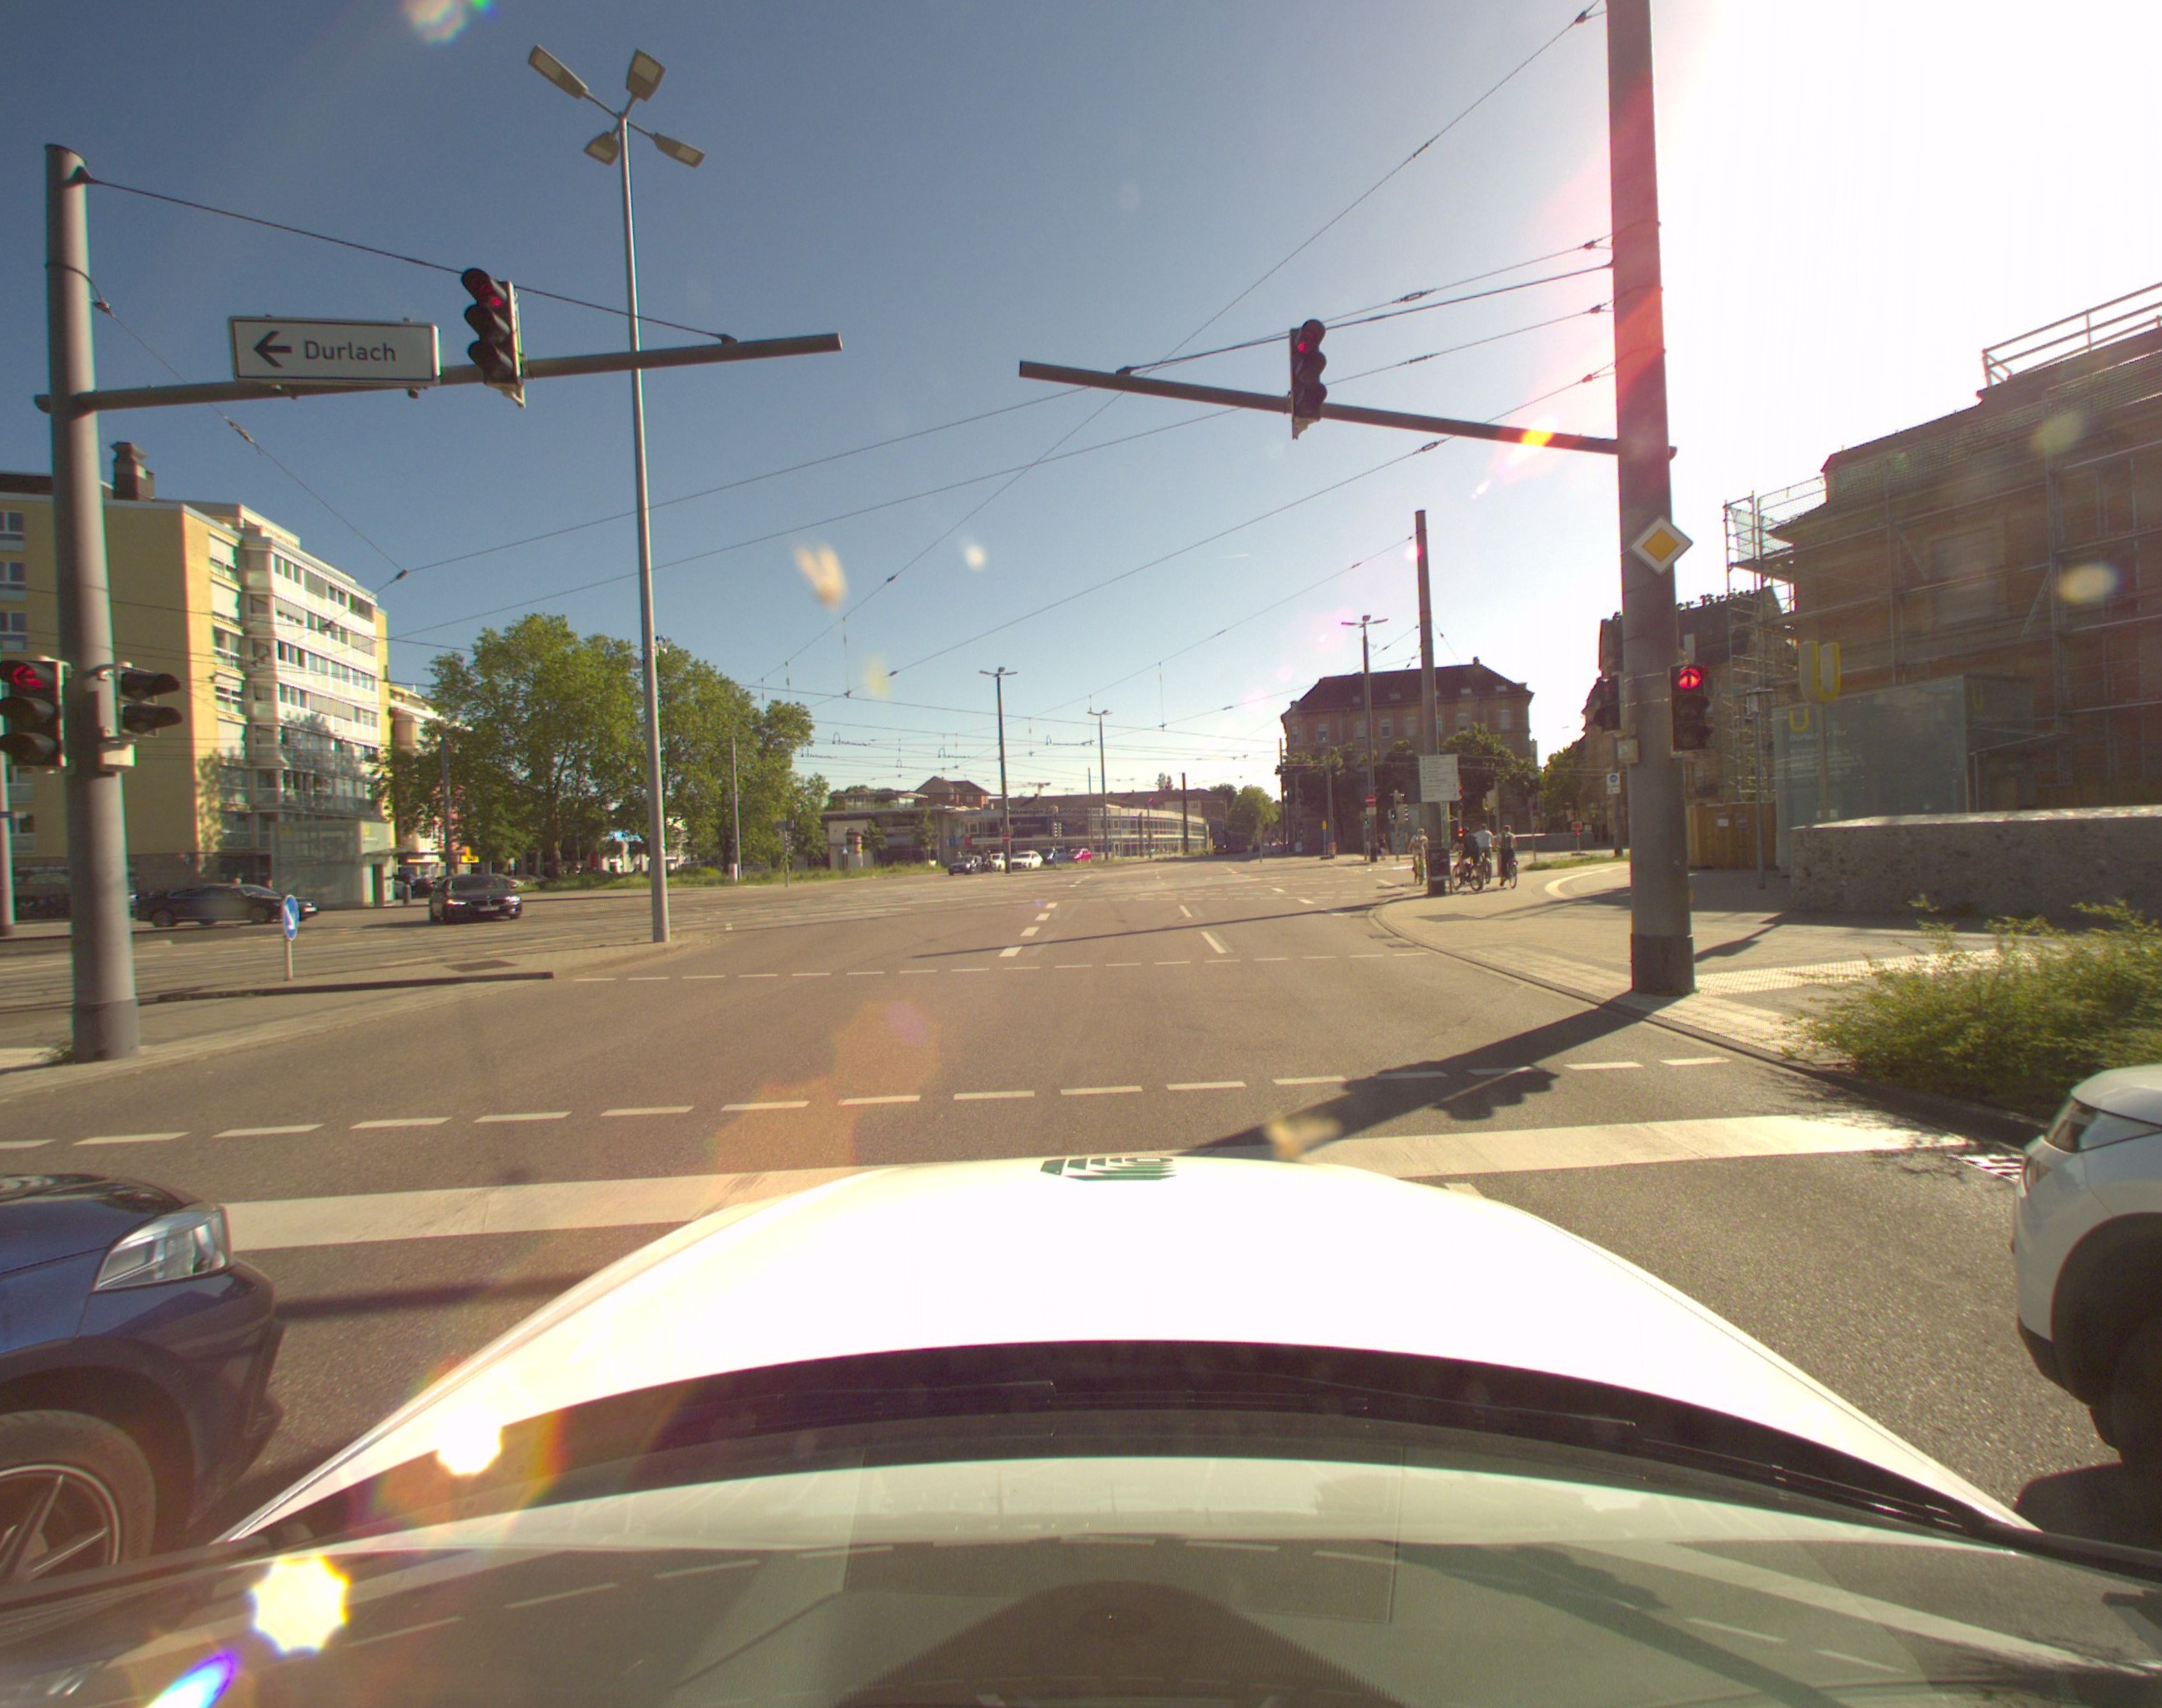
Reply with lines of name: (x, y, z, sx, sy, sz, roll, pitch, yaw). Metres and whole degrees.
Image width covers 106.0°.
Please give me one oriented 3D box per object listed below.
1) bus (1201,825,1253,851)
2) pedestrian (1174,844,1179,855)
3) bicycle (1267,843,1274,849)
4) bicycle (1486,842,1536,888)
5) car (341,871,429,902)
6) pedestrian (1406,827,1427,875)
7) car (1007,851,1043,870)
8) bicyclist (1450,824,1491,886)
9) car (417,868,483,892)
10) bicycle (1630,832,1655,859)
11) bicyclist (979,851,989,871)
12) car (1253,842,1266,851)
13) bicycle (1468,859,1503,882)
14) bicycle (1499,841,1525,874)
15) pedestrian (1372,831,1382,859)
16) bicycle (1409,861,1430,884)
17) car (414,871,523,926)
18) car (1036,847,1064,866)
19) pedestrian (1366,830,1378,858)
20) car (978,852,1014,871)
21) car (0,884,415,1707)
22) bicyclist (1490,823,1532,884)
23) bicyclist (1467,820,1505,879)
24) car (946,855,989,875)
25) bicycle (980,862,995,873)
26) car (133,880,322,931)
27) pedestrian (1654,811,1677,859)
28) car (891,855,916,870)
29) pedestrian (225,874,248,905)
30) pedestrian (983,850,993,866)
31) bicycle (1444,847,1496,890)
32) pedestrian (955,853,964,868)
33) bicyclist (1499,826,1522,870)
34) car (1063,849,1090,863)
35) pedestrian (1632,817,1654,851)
bus: (22.963, -2.274, 126.103, 3.805, 3.607, 24.989, -1, 0, 20)
pedestrian: (15.485, -0.686, 131.635, 0.537, 1.688, 0.633, -2, 0, 22)
bicycle: (26.461, -1.098, 113.928, 0.737, 0.870, 1.941, -2, 0, 20)
bicycle: (11.889, 0.285, 22.581, 0.680, 1.163, 1.890, -4, 0, 12)
car: (-42.818, 1.969, 50.189, 3.742, 1.662, 1.585, -2, 0, -18)
pedestrian: (11.254, -0.095, 27.314, 0.544, 1.562, 0.862, -2, 0, 20)
car: (-4.476, 0.513, 65.221, 1.613, 1.382, 3.754, -2, 0, 17)
bicyclist: (10.783, 0.030, 22.569, 0.622, 1.637, 0.996, -3, -1, 4)
car: (-49.780, 2.063, 64.318, 3.742, 1.662, 1.585, -2, 0, -18)
bicycle: (24.065, -0.389, 34.891, 1.779, 1.044, 0.511, -4, 0, -45)
bicyclist: (-8.322, 0.603, 70.008, 0.564, 1.713, 0.651, -2, 0, 14)
car: (29.641, -1.252, 135.394, 1.686, 1.503, 4.284, -2, 0, 17)
bicycle: (12.675, 0.501, 25.532, 0.534, 0.655, 1.471, -3, 0, 9)
bicycle: (15.797, 0.114, 29.869, 0.567, 1.125, 1.749, -3, 0, 20)
pedestrian: (21.517, -0.686, 59.153, 0.461, 2.013, 0.449, -3, 0, -16)
bicycle: (11.329, 0.619, 27.302, 0.532, 0.655, 1.734, -4, 0, 20)
car: (-19.296, 1.349, 25.585, 4.510, 1.501, 1.876, -2, 0, 42)
car: (-2.996, 0.239, 79.213, 1.613, 1.692, 3.702, -2, 0, 17)
pedestrian: (21.309, -0.713, 59.634, 0.574, 2.013, 0.449, -3, 0, -16)
car: (-6.982, 0.562, 67.164, 1.613, 1.424, 3.702, -2, 0, 17)
car: (-2.672, 0.813, 0.122, 1.704, 1.445, 4.034, -1, 0, 2)
bicyclist: (11.846, -0.022, 22.440, 0.680, 1.598, 0.980, -4, -1, 12)
bicyclist: (12.704, -0.136, 25.573, 0.742, 1.778, 0.926, -3, 0, 9)
car: (-8.502, 0.781, 61.240, 1.689, 1.354, 3.719, -2, 0, 19)
bicycle: (-6.954, 1.009, 60.531, 0.419, 0.718, 1.642, -2, 0, 19)
car: (-29.581, 1.738, 28.396, 4.174, 1.438, 1.717, -2, 0, -18)
pedestrian: (23.823, -0.769, 33.203, 0.692, 1.881, 0.725, -2, 0, 35)
car: (-21.873, 1.073, 100.591, 1.958, 1.706, 4.085, -2, 0, 2)
pedestrian: (-43.775, 1.823, 42.227, 0.719, 1.560, 0.551, -2, 0, -39)
pedestrian: (-6.928, 0.289, 60.716, 0.419, 1.204, 0.753, -2, 0, 19)
bicycle: (10.819, 0.396, 22.737, 0.622, 1.114, 1.853, -3, -1, 4)
pedestrian: (-10.097, 0.520, 67.485, 0.419, 1.204, 0.684, -2, 0, 21)
bicyclist: (15.811, -0.241, 29.960, 0.567, 1.568, 0.951, -3, 0, 20)
car: (-0.444, 0.245, 86.284, 1.613, 1.364, 3.703, -2, 0, 18)
pedestrian: (24.060, -0.856, 34.851, 0.967, 1.402, 0.511, -4, 0, -45)
